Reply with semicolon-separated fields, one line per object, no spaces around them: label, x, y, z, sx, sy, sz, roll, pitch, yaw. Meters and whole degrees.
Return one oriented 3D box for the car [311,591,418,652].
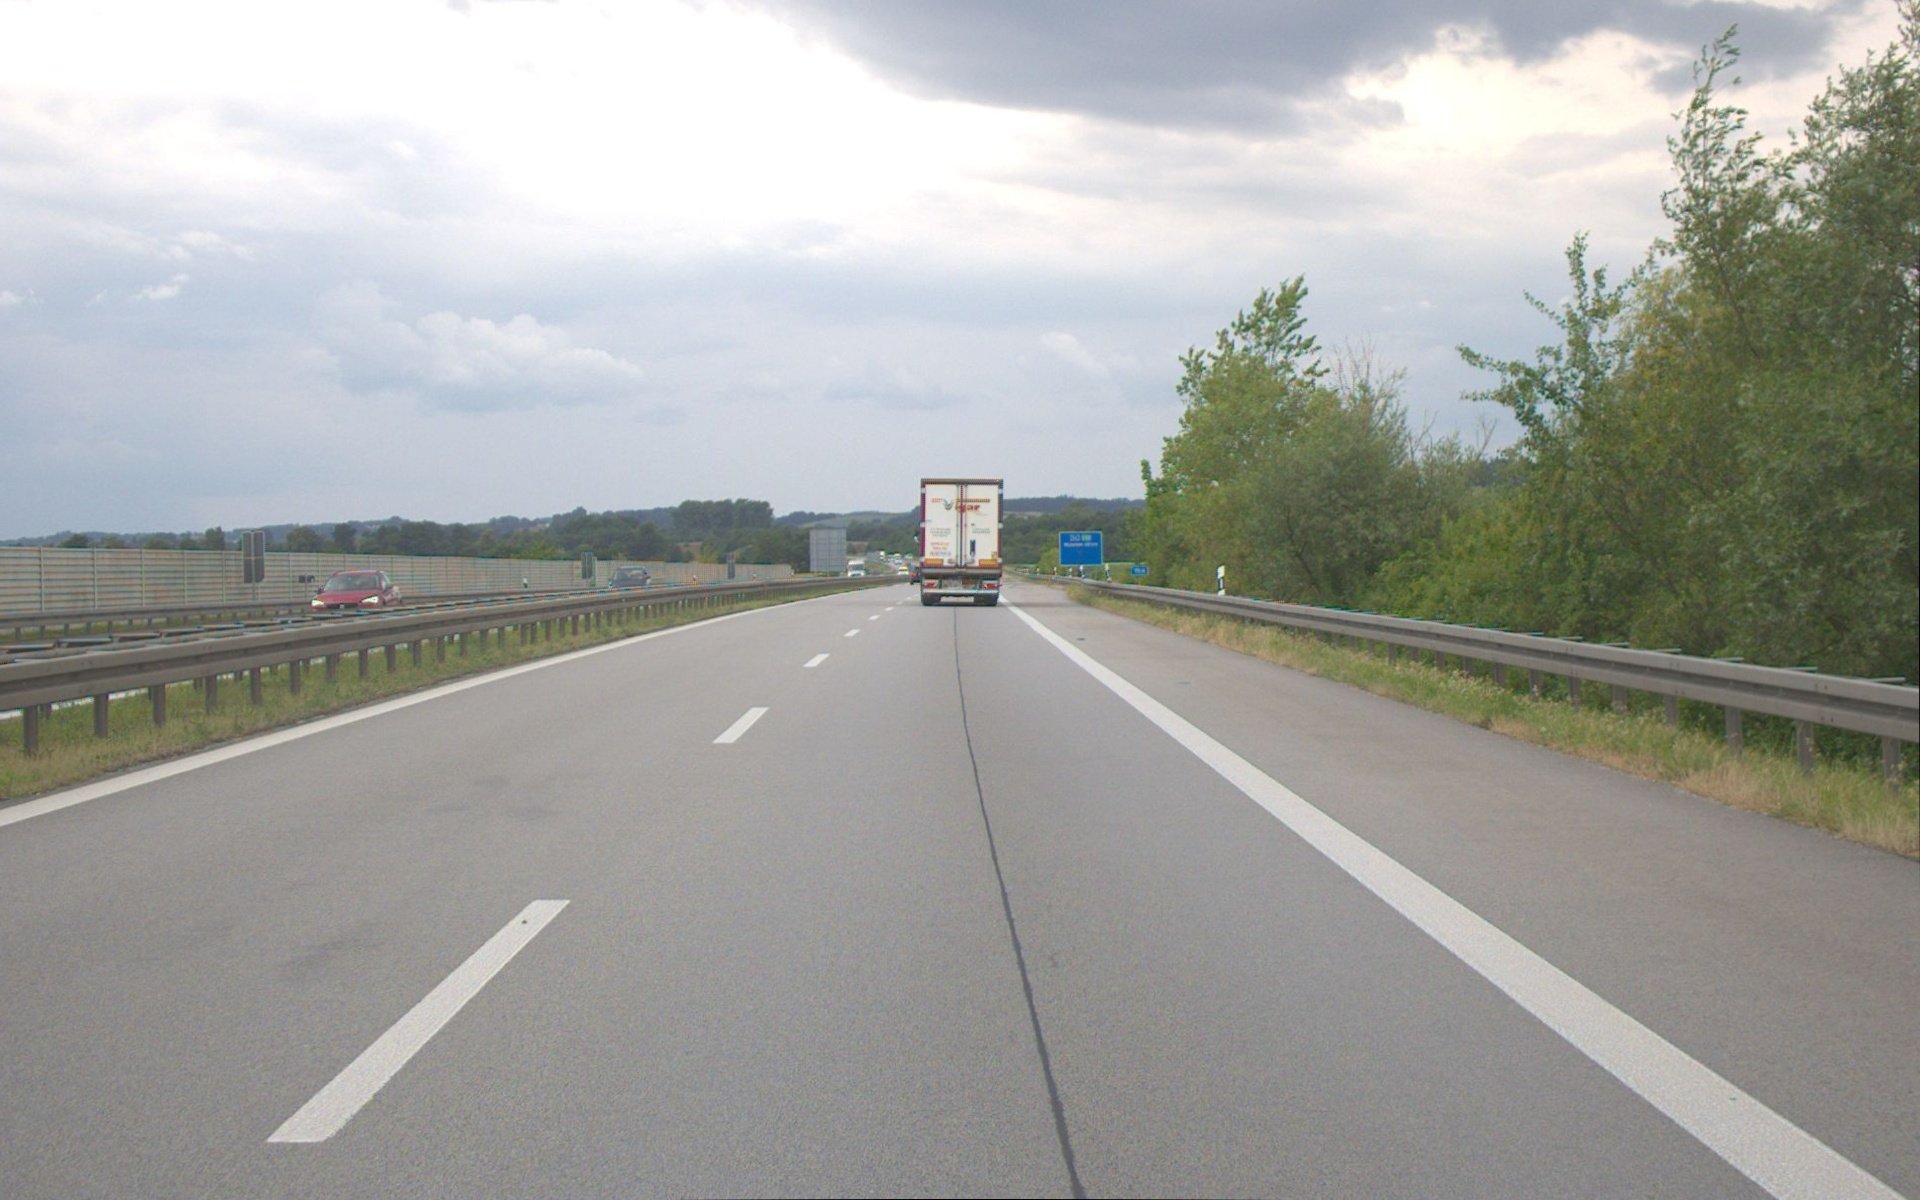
car;-14.871;0.520;86.094;1.818;1.398;4.877;-1;1;0

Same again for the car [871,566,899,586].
car;-5.721;-1.849;261.648;1.993;1.415;4.001;1;2;-3

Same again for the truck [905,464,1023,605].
truck;0.035;-2.128;115.712;3.672;4.397;16.341;0;1;-1
